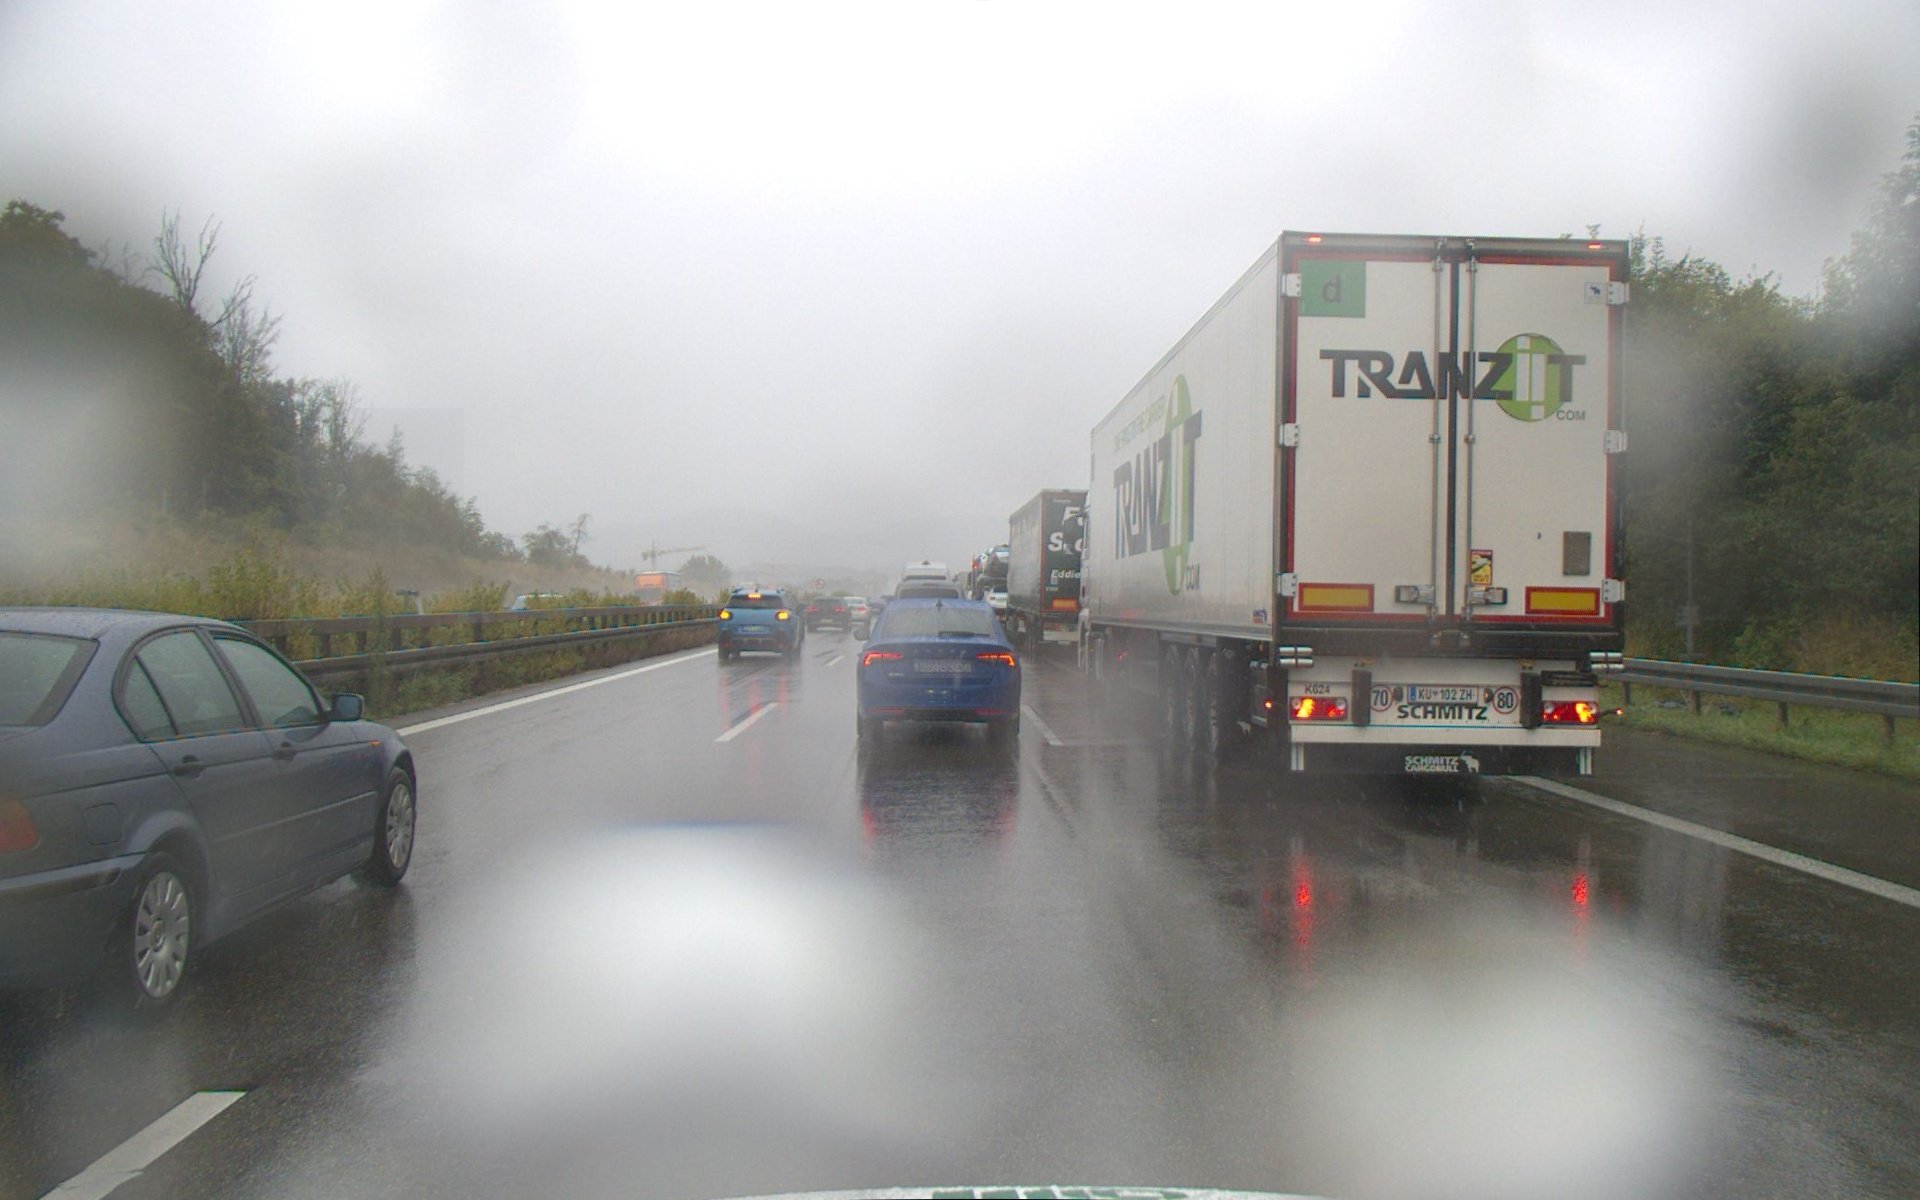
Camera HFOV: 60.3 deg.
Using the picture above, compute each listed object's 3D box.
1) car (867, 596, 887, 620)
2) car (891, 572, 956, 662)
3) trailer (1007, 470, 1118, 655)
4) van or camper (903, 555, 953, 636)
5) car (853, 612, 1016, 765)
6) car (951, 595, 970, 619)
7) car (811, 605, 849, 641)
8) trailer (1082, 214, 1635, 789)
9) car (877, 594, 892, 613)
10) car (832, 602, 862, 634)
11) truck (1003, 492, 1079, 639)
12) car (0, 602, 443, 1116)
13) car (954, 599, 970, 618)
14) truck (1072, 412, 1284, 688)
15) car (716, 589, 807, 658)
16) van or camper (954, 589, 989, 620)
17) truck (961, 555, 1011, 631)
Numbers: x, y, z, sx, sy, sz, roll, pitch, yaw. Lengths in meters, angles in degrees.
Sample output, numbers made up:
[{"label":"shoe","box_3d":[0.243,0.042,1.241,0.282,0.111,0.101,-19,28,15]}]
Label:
[{"label":"car","box_3d":[-6.433,0.613,128.771,1.419,1.815,3.408,1,0,-1]},{"label":"car","box_3d":[-0.767,0.335,35.026,1.309,1.811,3.321,0,0,-1]},{"label":"trailer","box_3d":[2.535,-0.917,43.901,2.005,4.249,11.445,0,0,-1]},{"label":"van or camper","box_3d":[-1.179,-0.174,60.784,1.761,2.855,4.766,0,0,-1]},{"label":"car","box_3d":[-0.266,0.886,18.365,1.602,1.470,4.000,0,0,0]},{"label":"car","box_3d":[0.000,0.556,131.505,1.419,1.815,3.408,1,0,-1]},{"label":"car","box_3d":[-5.509,0.975,70.096,1.410,1.445,3.321,0,0,-1]},{"label":"trailer","box_3d":[3.385,-0.758,19.107,2.577,4.083,14.626,0,0,-1]},{"label":"car","box_3d":[-7.598,0.334,166.225,1.419,1.815,3.408,1,0,-1]},{"label":"car","box_3d":[-5.896,0.928,86.614,1.410,1.560,3.321,0,0,-1]},{"label":"truck","box_3d":[2.409,-1.015,50.013,2.005,4.266,3.999,0,0,-1]},{"label":"car","box_3d":[-3.531,0.731,6.732,1.683,1.424,4.228,0,0,-3]},{"label":"car","box_3d":[0.174,0.714,142.951,1.223,1.538,3.107,-1,1,-2]},{"label":"truck","box_3d":[3.244,-0.723,25.796,2.577,3.894,4.790,0,0,-1]},{"label":"car","box_3d":[-4.636,0.518,39.084,1.686,1.550,4.000,0,0,0]},{"label":"van or camper","box_3d":[0.609,0.227,90.511,1.736,1.653,4.483,0,1,-1]},{"label":"truck","box_3d":[1.217,-0.381,80.151,1.953,3.481,8.029,0,1,-2]}]
